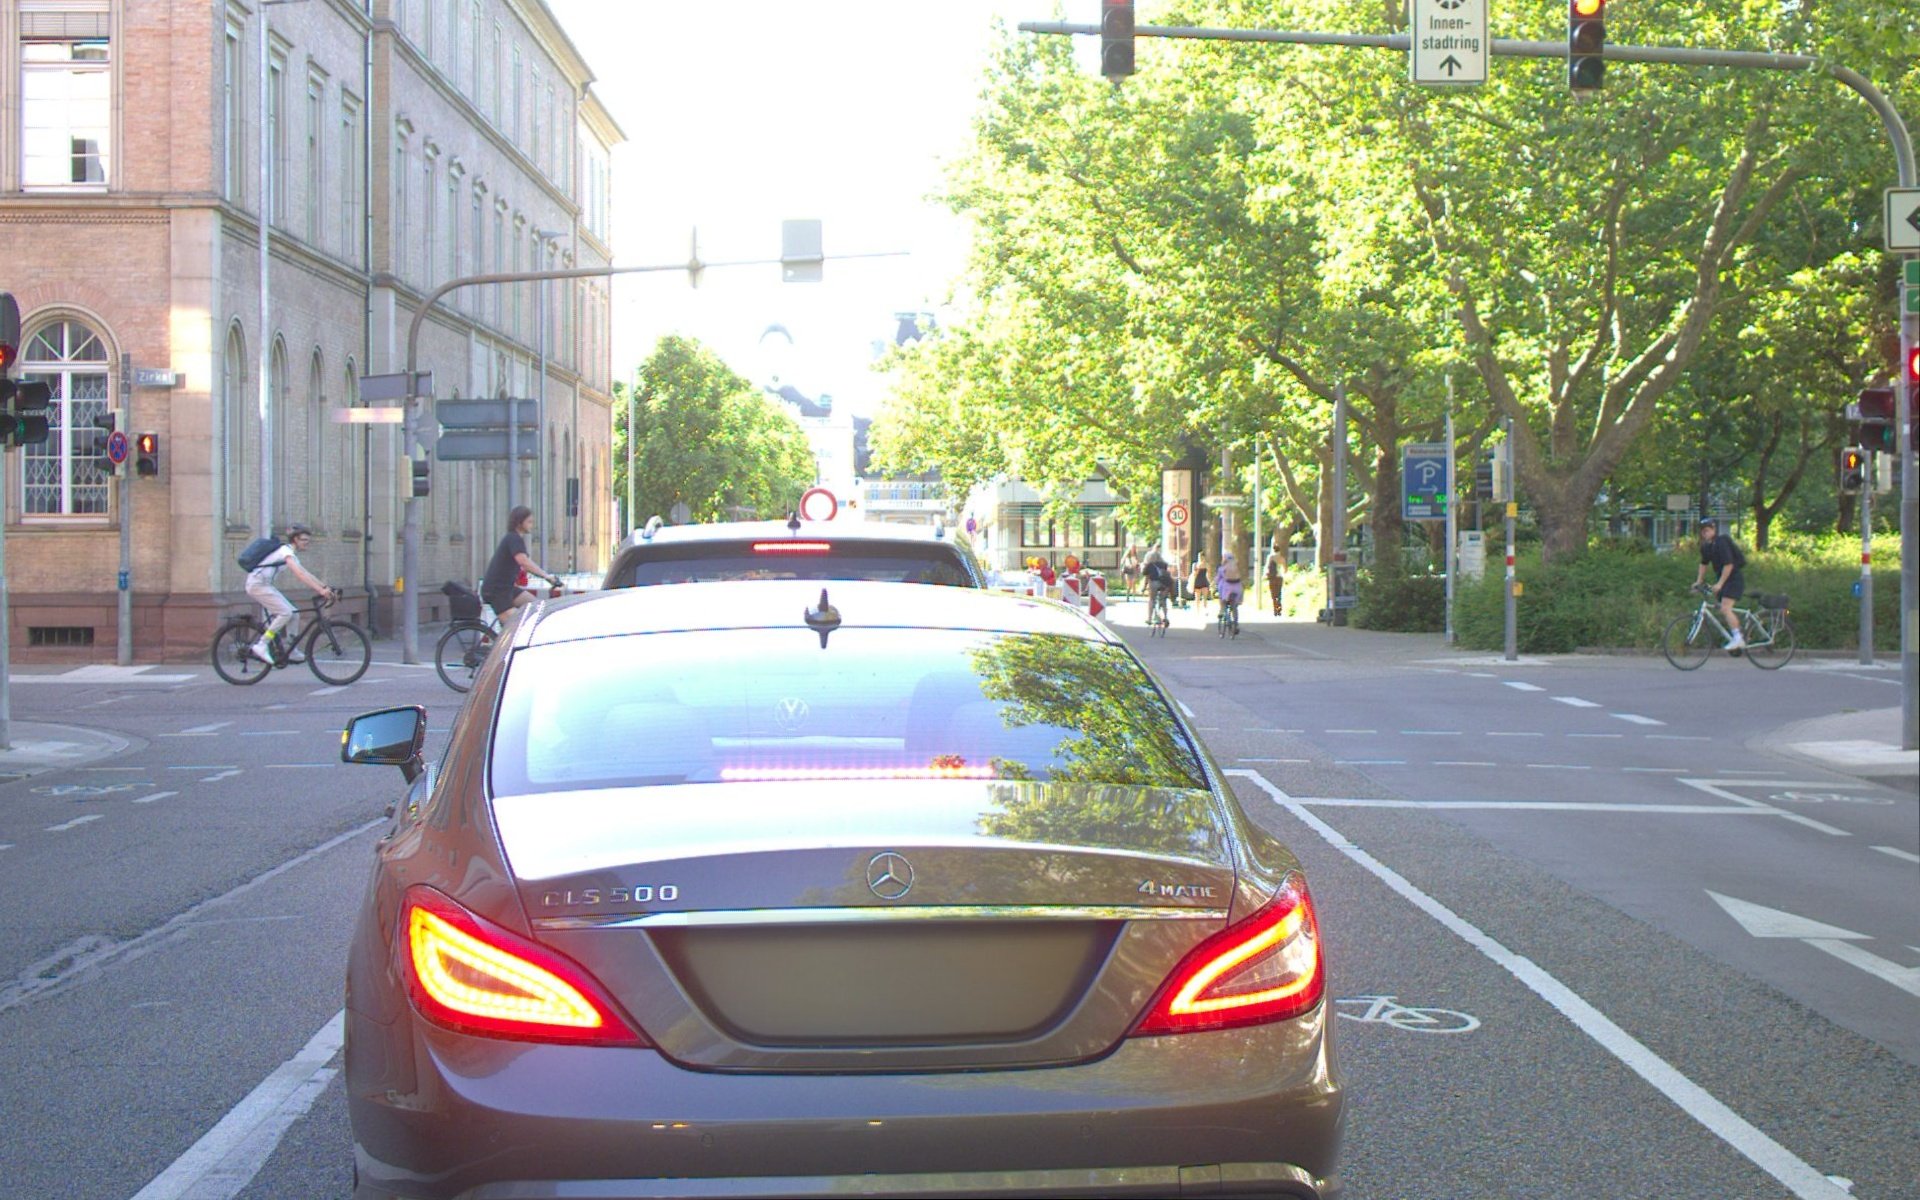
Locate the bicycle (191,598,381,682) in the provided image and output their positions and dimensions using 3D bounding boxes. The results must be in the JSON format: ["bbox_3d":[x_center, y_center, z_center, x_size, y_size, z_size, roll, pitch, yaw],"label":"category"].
[{"bbox_3d":[-7.276,0.430,37.174,1.893,0.879,0.725,0,1,4],"label":"bicycle"}]

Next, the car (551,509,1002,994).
[{"bbox_3d":[-0.715,0.485,13.657,1.517,1.641,3.881,1,1,-3],"label":"car"}]

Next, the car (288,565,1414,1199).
[{"bbox_3d":[-0.445,0.664,7.649,1.803,1.451,4.352,0,1,-8],"label":"car"}]

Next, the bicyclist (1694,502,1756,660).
[{"bbox_3d":[9.792,-0.241,44.008,0.652,2.007,0.440,0,1,-8],"label":"bicyclist"}]

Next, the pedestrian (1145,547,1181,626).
[{"bbox_3d":[3.884,-0.260,65.902,0.648,1.498,0.637,0,1,-1],"label":"pedestrian"}]

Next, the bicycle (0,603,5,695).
[{"bbox_3d":[-10.682,0.490,34.930,1.859,0.926,0.695,1,1,23],"label":"bicycle"}]

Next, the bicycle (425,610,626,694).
[{"bbox_3d":[-4.457,0.533,35.340,1.974,0.834,0.677,0,1,0],"label":"bicycle"}]

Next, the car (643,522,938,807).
[{"bbox_3d":[-1.072,0.365,23.257,1.820,1.756,4.000,0,1,-1],"label":"car"}]

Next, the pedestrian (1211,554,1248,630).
[{"bbox_3d":[5.110,-0.162,65.193,0.648,1.428,0.659,0,1,-1],"label":"pedestrian"}]

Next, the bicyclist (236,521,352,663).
[{"bbox_3d":[-7.195,-0.091,37.149,1.075,1.514,0.716,0,1,5],"label":"bicyclist"}]

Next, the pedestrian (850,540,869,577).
[{"bbox_3d":[-4.241,-1.746,144.985,0.801,1.571,0.845,0,1,-1],"label":"pedestrian"}]

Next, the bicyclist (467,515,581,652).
[{"bbox_3d":[-4.475,-0.171,35.330,1.103,1.398,0.657,0,1,-1],"label":"bicyclist"}]
